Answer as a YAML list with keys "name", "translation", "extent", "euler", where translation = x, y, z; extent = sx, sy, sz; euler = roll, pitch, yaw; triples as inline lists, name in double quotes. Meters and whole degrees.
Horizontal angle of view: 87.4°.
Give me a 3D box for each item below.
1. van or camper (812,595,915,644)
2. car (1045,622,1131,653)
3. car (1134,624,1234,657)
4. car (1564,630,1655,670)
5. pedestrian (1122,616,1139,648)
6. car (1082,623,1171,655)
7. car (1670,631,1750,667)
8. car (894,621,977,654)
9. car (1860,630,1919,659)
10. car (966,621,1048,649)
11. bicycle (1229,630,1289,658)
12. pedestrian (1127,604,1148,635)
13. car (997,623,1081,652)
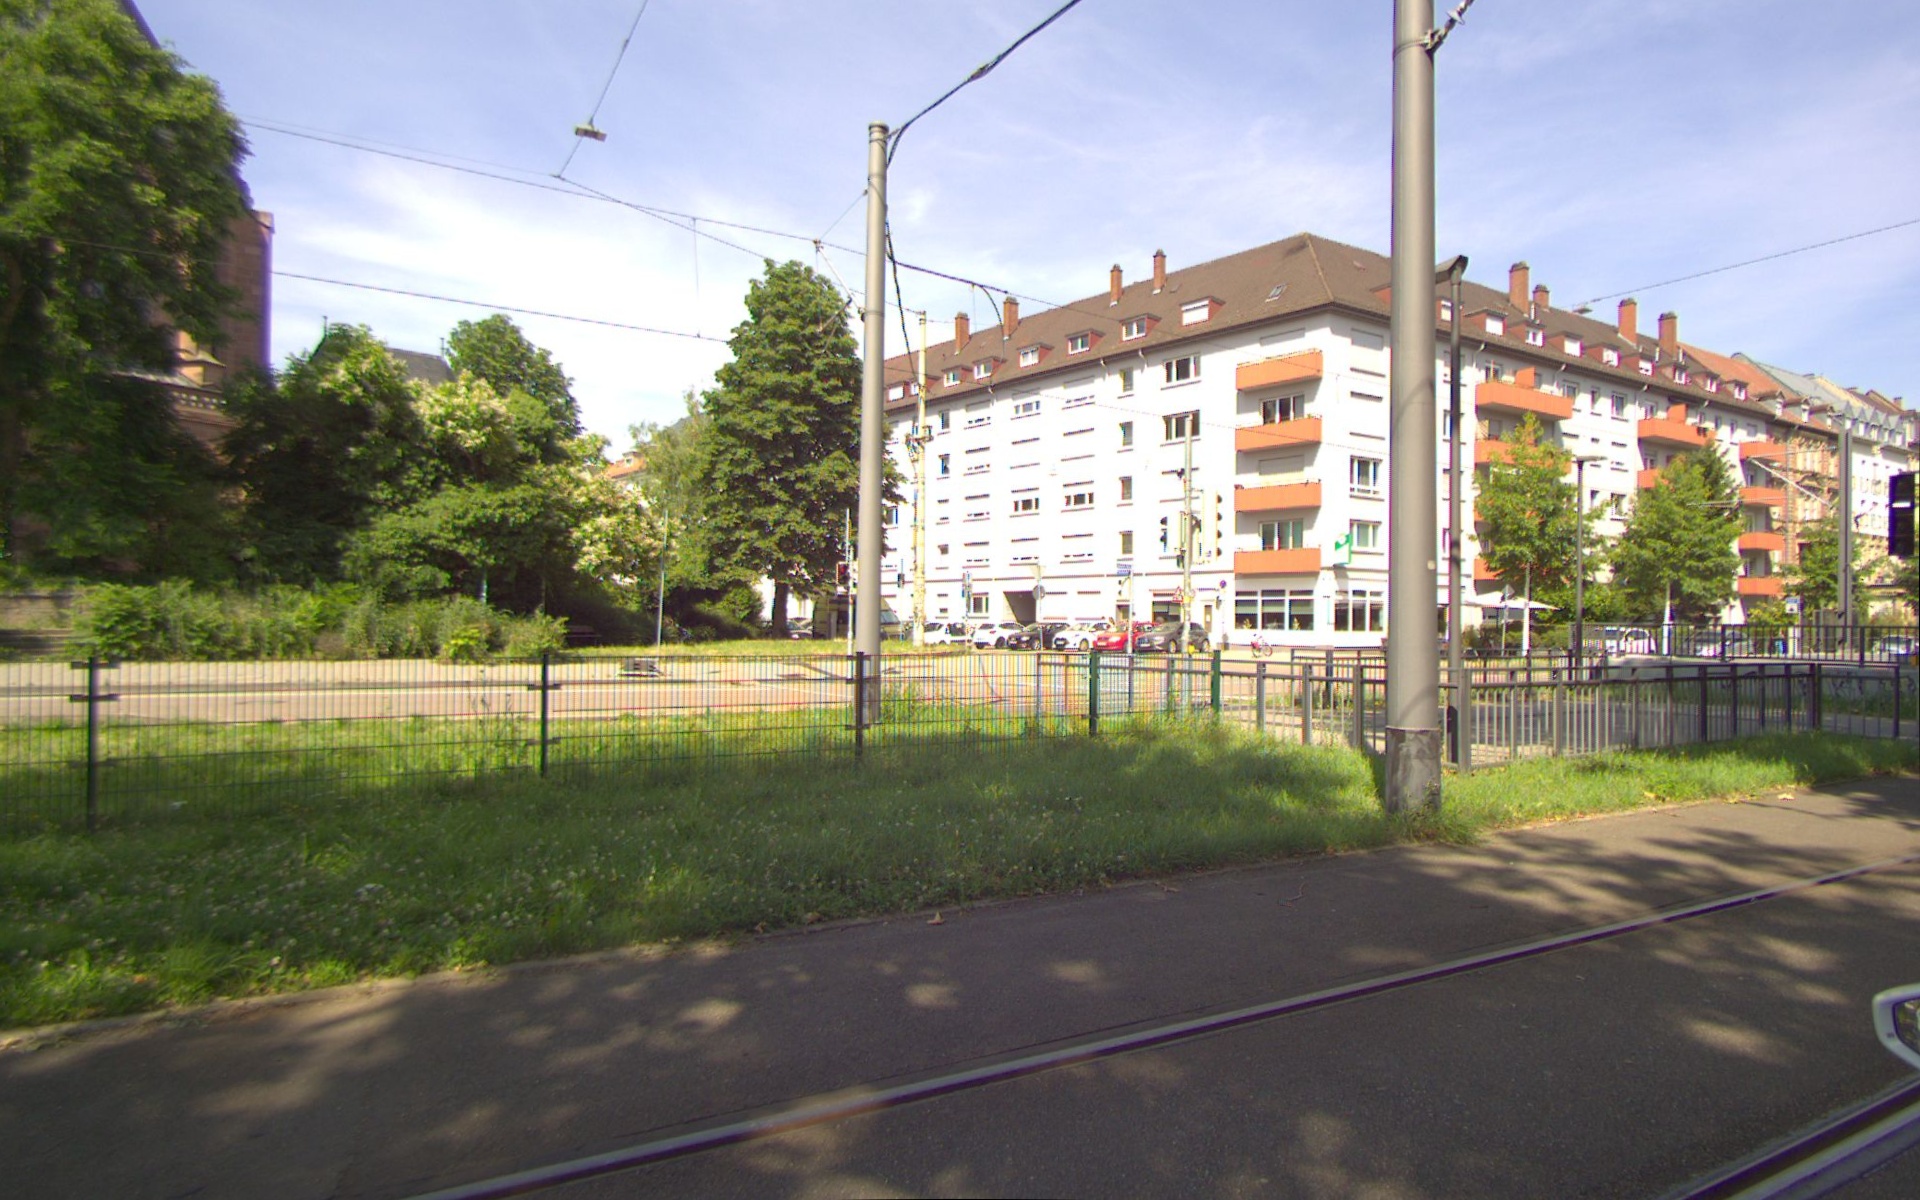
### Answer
- name: "van or camper"
  translation: [-4.982, 0.961, 51.187]
  extent: [2.228, 2.360, 5.704]
  euler: [2, -1, -42]
- name: "car"
  translation: [6.357, 1.851, 49.861]
  extent: [4.129, 1.425, 1.917]
  euler: [2, -1, -38]
- name: "car"
  translation: [10.065, 1.798, 44.949]
  extent: [4.598, 1.394, 1.821]
  euler: [1, -1, -36]
- name: "car"
  translation: [25.956, 1.963, 40.117]
  extent: [3.961, 1.518, 1.759]
  euler: [2, -3, -36]
- name: "pedestrian"
  translation: [8.761, 1.636, 51.717]
  extent: [0.679, 1.593, 0.544]
  euler: [0, -1, 36]
- name: "car"
  translation: [7.899, 1.819, 47.544]
  extent: [4.129, 1.425, 1.917]
  euler: [2, -1, -38]
- name: "car"
  translation: [33.226, 2.151, 44.484]
  extent: [3.961, 1.518, 1.759]
  euler: [2, -3, -36]
- name: "car"
  translation: [-1.162, 1.724, 46.796]
  extent: [3.702, 1.425, 1.823]
  euler: [-1, -2, 44]
- name: "car"
  translation: [51.398, 2.434, 55.484]
  extent: [3.961, 1.518, 1.758]
  euler: [2, -1, -36]
- name: "car"
  translation: [2.535, 1.879, 53.728]
  extent: [4.129, 1.425, 1.917]
  euler: [2, -1, -38]
- name: "bicycle"
  translation: [12.825, 1.873, 43.082]
  extent: [2.779, 1.152, 0.905]
  euler: [1, -1, -34]
- name: "pedestrian"
  translation: [9.228, 1.009, 52.175]
  extent: [0.846, 1.593, 0.688]
  euler: [0, -1, 36]
- name: "car"
  translation: [4.068, 1.901, 51.426]
  extent: [4.129, 1.425, 1.917]
  euler: [2, -1, -38]
